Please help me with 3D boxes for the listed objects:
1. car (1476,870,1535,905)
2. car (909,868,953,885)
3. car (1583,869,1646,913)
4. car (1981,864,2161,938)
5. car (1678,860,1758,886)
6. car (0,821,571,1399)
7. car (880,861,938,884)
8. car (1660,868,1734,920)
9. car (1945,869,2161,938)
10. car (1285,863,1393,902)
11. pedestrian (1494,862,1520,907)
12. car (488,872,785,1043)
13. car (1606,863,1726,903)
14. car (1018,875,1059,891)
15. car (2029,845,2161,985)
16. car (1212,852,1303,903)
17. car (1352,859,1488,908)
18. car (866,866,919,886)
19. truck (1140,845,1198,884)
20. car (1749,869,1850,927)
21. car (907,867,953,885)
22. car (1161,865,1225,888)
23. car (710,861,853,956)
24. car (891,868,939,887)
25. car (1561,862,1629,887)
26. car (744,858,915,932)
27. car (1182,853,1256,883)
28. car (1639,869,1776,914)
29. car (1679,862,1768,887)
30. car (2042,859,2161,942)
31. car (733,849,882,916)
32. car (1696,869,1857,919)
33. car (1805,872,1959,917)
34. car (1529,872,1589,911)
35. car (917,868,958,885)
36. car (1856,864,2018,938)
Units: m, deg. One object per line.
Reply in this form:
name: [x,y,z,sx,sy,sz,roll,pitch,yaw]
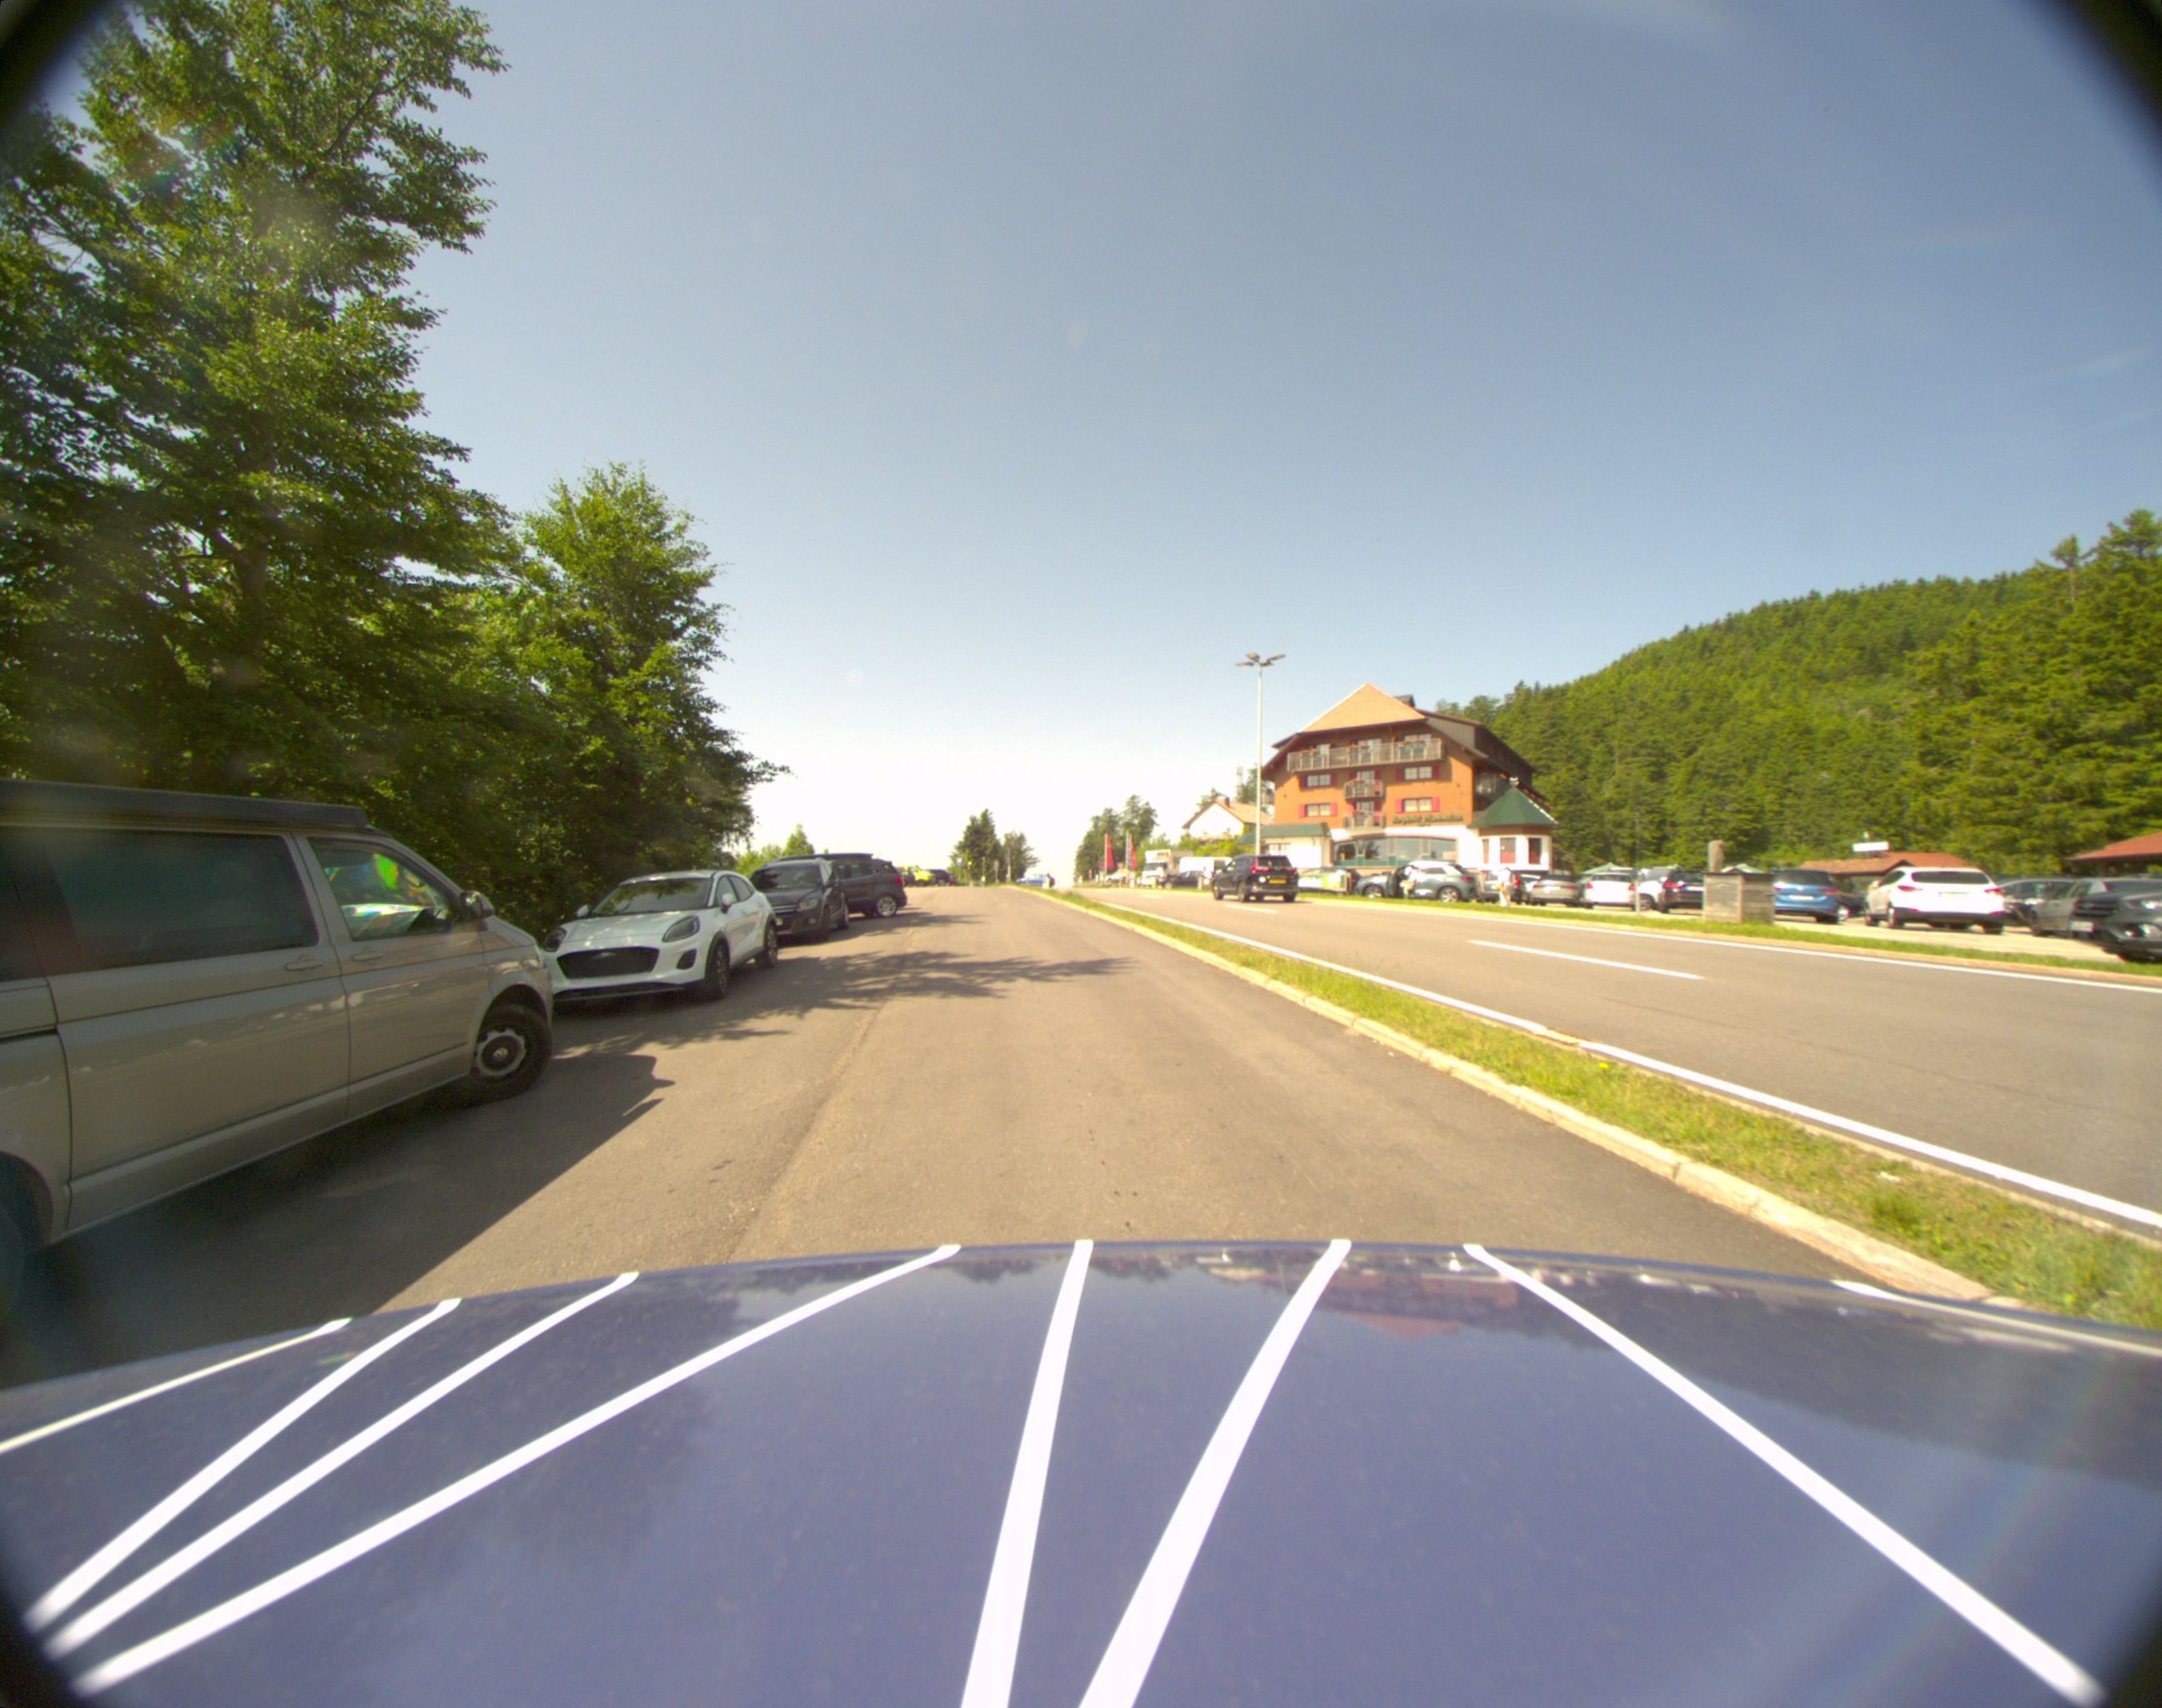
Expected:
car: [19.640,1.498,35.110,1.819,1.504,4.104,1,0,37]
car: [-14.165,2.113,72.065,3.912,1.605,1.875,0,0,-6]
car: [20.407,1.353,28.977,1.819,1.504,4.104,1,0,37]
car: [25.771,1.141,18.841,4.083,1.705,1.925,0,0,35]
car: [43.948,1.307,52.520,4.083,1.705,1.925,0,0,35]
car: [-4.661,0.910,3.409,1.862,1.924,4.607,-4,0,-5]
car: [-14.284,1.534,63.298,4.459,1.914,1.875,0,0,-6]
car: [21.075,1.299,26.132,1.819,1.619,4.104,1,0,37]
car: [27.244,1.298,20.988,4.083,1.705,1.924,0,0,32]
car: [11.552,1.234,34.147,4.259,1.619,1.828,0,0,34]
pedestrian: [15.740,1.112,28.069,0.744,1.615,0.684,0,0,21]
car: [-5.254,1.080,9.698,1.876,1.538,3.997,-3,0,-9]
car: [25.765,1.227,33.662,4.083,1.619,1.828,0,0,34]
car: [-4.520,3.066,80.339,3.905,1.605,1.879,0,0,17]
car: [14.755,0.742,8.709,4.539,1.646,1.726,0,0,33]
car: [6.113,0.780,26.829,1.722,1.672,4.127,0,0,-8]
car: [12.351,1.037,27.772,4.259,1.619,1.828,0,0,34]
car: [-14.946,1.744,60.457,3.912,1.605,1.875,0,0,-6]
truck: [9.506,1.114,80.993,2.877,3.798,9.035,-2,-1,29]
car: [22.255,1.287,23.692,1.819,1.619,4.104,1,0,37]
car: [-13.775,1.990,69.486,3.912,1.605,1.875,0,0,-6]
car: [7.992,1.580,54.245,4.083,1.518,1.828,0,0,30]
car: [-6.060,1.007,15.888,1.876,1.609,3.997,-3,0,-9]
car: [-14.506,2.046,66.514,3.912,1.605,1.875,0,0,-6]
car: [37.716,1.499,55.811,4.083,1.705,1.925,0,0,35]
car: [-6.709,1.034,20.310,4.005,1.609,1.872,-3,0,-28]
car: [13.461,1.356,74.112,6.954,2.774,2.669,0,0,10]
car: [25.131,1.451,30.674,4.083,1.619,1.828,0,0,34]
car: [46.810,1.457,55.496,4.832,1.705,1.925,0,0,35]
car: [23.521,0.976,15.747,4.083,1.705,1.925,0,0,35]
car: [-9.291,0.922,25.866,4.466,1.914,1.872,-3,0,-28]
car: [25.015,1.380,27.544,4.083,1.619,1.828,0,0,34]
car: [33.557,1.639,32.015,4.083,1.705,1.924,0,0,32]
car: [20.454,1.535,32.422,1.819,1.504,4.104,1,0,37]
car: [-14.317,2.263,76.134,3.912,1.605,1.875,0,0,-6]
car: [22.175,1.125,19.894,1.915,1.705,4.104,1,0,35]
